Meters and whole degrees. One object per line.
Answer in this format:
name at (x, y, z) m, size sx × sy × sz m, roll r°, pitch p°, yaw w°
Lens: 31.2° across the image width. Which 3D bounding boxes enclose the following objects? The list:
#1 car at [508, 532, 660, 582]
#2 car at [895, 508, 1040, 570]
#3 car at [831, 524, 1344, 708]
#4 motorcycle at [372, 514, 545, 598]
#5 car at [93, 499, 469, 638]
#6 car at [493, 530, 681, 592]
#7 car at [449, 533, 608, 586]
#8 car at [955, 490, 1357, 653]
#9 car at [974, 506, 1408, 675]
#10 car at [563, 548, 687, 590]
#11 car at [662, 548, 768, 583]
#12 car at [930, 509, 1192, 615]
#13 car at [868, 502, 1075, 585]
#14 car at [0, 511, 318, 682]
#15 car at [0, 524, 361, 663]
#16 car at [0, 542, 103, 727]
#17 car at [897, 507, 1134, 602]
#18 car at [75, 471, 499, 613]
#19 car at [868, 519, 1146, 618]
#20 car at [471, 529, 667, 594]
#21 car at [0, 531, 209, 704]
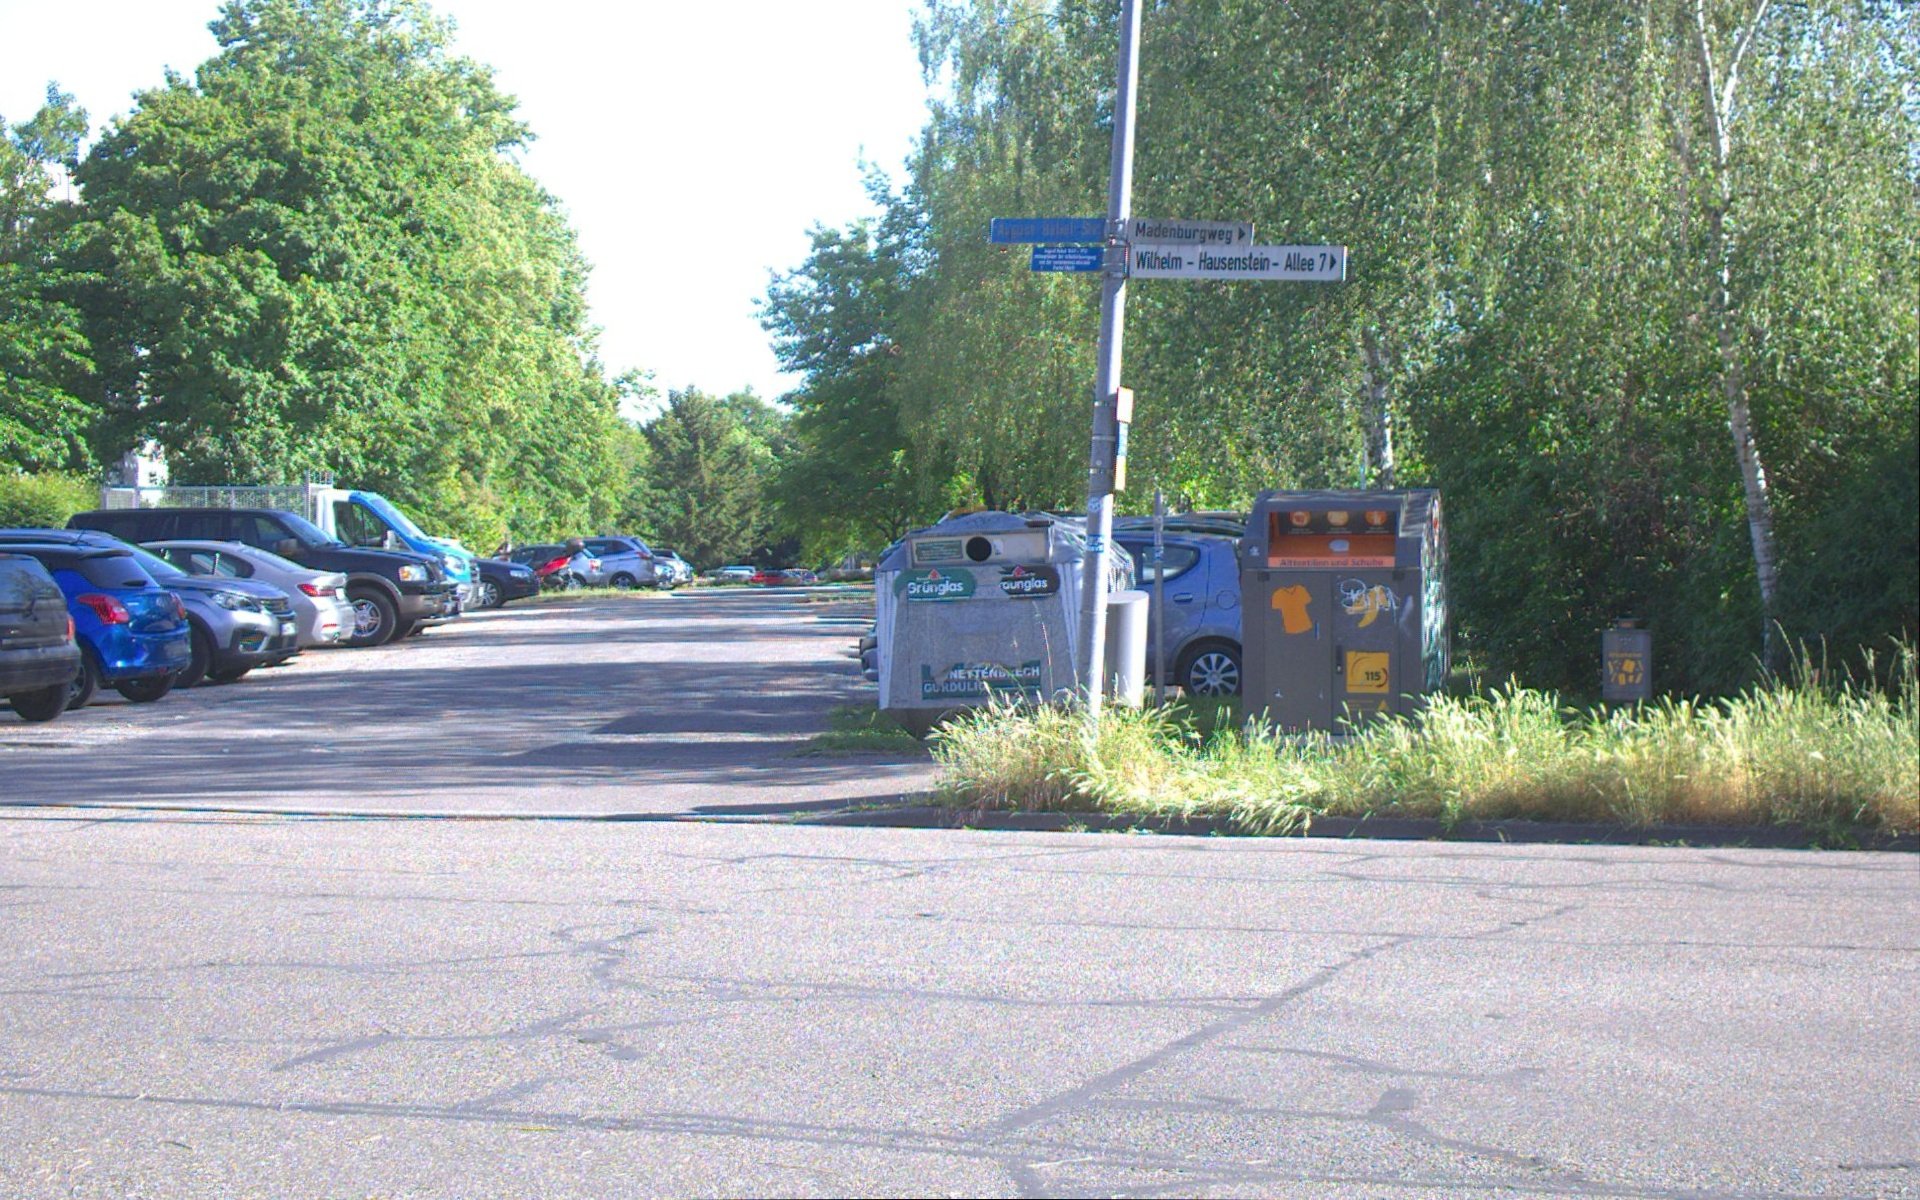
car at (-10.162, -1.171, 93.098) m, size 3.939 × 1.329 × 1.847 m, roll 0°, pitch 1°, yaw -1°
car at (0.229, -1.695, 96.161) m, size 3.987 × 1.702 × 1.797 m, roll 0°, pitch 1°, yaw 3°
car at (1.097, 0.107, 28.832) m, size 4.055 × 1.434 × 1.634 m, roll 1°, pitch 1°, yaw 13°
motorcycle at (-9.712, -0.856, 66.669) m, size 3.191 × 1.590 × 0.923 m, roll 0°, pitch 1°, yaw 1°
car at (-8.912, -0.423, 45.357) m, size 4.523 × 1.765 × 1.847 m, roll 0°, pitch 1°, yaw 5°
car at (-8.178, -0.864, 75.606) m, size 3.939 × 1.329 × 1.847 m, roll 0°, pitch 1°, yaw -1°
car at (-11.267, -1.059, 89.856) m, size 3.939 × 1.329 × 1.847 m, roll 0°, pitch 1°, yaw -1°
car at (2.092, -0.327, 37.376) m, size 4.103 × 1.700 × 1.791 m, roll 0°, pitch 2°, yaw -7°
car at (2.261, -0.114, 34.317) m, size 4.052 × 1.597 × 1.791 m, roll 0°, pitch 2°, yaw -6°
car at (-11.009, -1.015, 113.178) m, size 3.939 × 1.329 × 1.847 m, roll 0°, pitch 1°, yaw -1°
car at (-8.699, -1.243, 122.198) m, size 3.644 × 1.208 × 1.847 m, roll 0°, pitch 1°, yaw -1°
car at (1.573, -0.591, 53.384) m, size 3.987 × 1.580 × 1.797 m, roll 0°, pitch 1°, yaw 3°
car at (0.241, -1.107, 67.604) m, size 3.987 × 1.580 × 1.797 m, roll 0°, pitch 1°, yaw 3°
car at (-9.306, -0.031, 35.310) m, size 4.993 × 1.649 × 1.784 m, roll -1°, pitch 1°, yaw 5°
car at (-9.054, -0.078, 39.275) m, size 4.143 × 1.450 × 1.619 m, roll -2°, pitch 1°, yaw -3°
car at (-9.195, 0.255, 28.812) m, size 3.525 × 1.461 × 1.702 m, roll 0°, pitch 2°, yaw 16°
car at (0.974, -0.784, 59.023) m, size 3.987 × 1.580 × 1.797 m, roll 0°, pitch 1°, yaw 3°
car at (-10.510, -0.919, 54.116) m, size 6.255 × 2.139 × 2.411 m, roll 0°, pitch 1°, yaw -2°
car at (0.713, -0.468, 50.190) m, size 3.987 × 1.396 × 1.797 m, roll 0°, pitch 1°, yaw 3°
car at (-8.209, -0.815, 72.367) m, size 3.939 × 1.329 × 1.847 m, roll 0°, pitch 1°, yaw -1°
car at (-8.932, 0.161, 31.364) m, size 3.682 × 1.491 × 1.650 m, roll -1°, pitch 1°, yaw 12°
